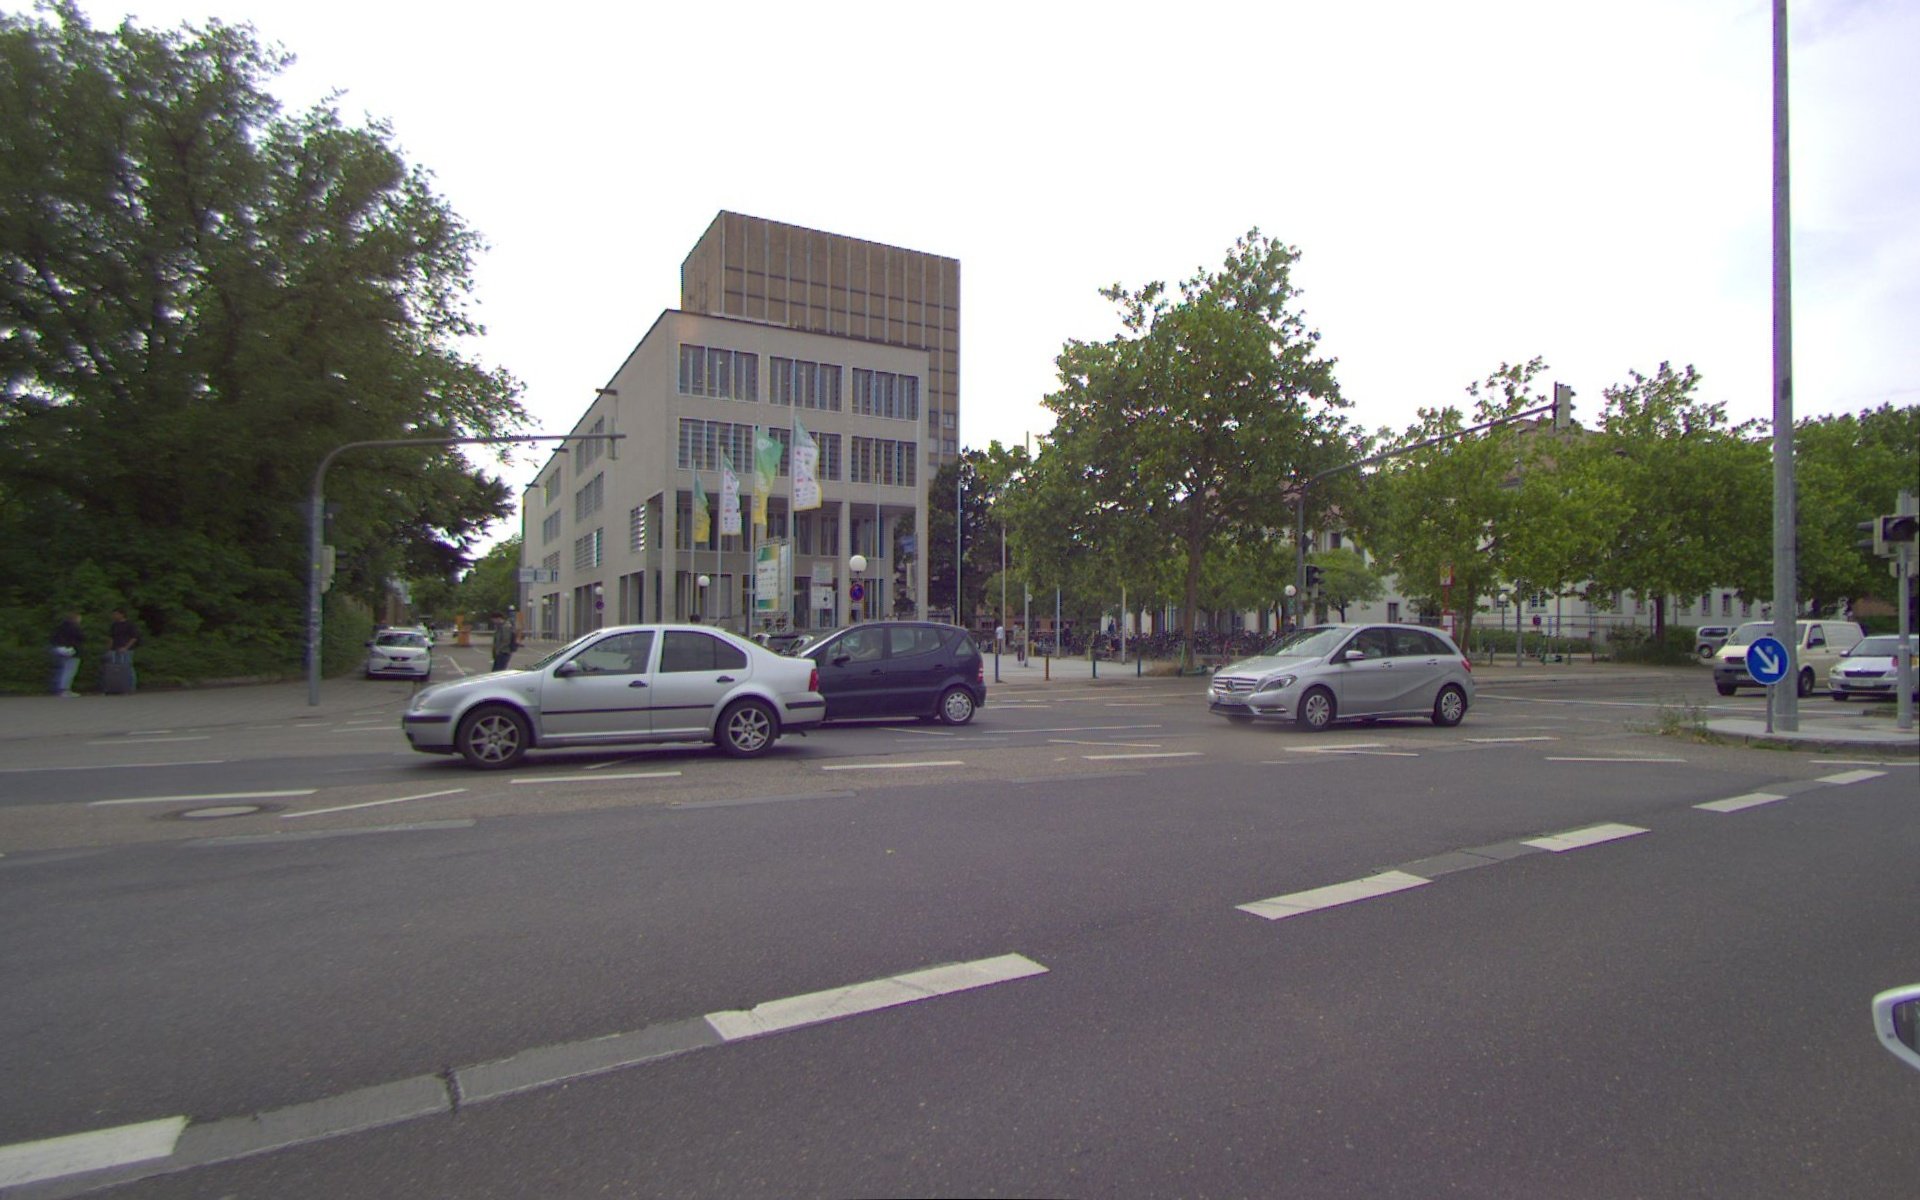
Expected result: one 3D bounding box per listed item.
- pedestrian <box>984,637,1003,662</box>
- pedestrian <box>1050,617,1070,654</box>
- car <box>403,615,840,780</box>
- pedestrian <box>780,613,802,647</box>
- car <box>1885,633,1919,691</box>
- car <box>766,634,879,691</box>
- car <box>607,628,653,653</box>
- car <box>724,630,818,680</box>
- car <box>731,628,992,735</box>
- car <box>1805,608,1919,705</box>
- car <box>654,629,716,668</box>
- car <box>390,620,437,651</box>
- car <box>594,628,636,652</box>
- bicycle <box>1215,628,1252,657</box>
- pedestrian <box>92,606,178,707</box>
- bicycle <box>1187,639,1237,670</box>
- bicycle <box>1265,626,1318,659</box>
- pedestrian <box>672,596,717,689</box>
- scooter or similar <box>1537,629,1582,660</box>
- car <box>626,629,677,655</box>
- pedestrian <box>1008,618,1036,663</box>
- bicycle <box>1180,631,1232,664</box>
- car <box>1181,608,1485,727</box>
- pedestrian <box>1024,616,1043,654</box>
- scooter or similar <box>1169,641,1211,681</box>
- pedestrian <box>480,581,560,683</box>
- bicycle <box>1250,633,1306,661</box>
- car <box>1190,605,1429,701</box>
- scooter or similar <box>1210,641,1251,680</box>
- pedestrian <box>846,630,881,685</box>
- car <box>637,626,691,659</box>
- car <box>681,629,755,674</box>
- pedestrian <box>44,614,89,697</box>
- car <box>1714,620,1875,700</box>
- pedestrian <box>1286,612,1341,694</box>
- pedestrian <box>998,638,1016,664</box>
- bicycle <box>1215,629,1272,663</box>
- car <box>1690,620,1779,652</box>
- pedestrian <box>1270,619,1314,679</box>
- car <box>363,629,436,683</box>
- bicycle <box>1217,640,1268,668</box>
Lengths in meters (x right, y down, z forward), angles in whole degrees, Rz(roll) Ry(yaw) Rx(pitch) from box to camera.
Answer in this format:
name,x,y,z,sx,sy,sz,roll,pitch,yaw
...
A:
name,x,y,z,sx,sy,sz,roll,pitch,yaw
pedestrian,1.938,2.889,58.201,0.783,1.437,0.893,1,-2,-21
pedestrian,5.544,1.963,55.787,0.783,2.040,0.893,1,-2,-21
car,-3.626,0.974,11.141,4.212,1.549,1.990,1,-2,-22
pedestrian,-10.161,1.803,60.433,0.785,2.040,1.032,-2,-3,45
car,29.854,1.852,30.308,3.951,1.712,1.691,1,-2,-29
car,-4.344,1.883,31.233,1.978,1.491,4.119,1,0,-31
car,-19.306,2.380,58.666,1.970,1.415,3.874,1,-2,-28
car,-6.720,1.886,35.384,1.978,1.491,3.966,1,0,-31
car,-1.527,1.188,15.560,3.647,1.483,1.847,1,-2,-25
car,21.547,1.271,23.053,3.951,2.040,1.985,1,-2,-29
car,-12.620,2.185,46.020,1.832,1.706,3.969,1,-2,-29
car,-28.407,1.845,52.346,1.974,1.561,3.974,1,-2,-26
car,-21.555,2.508,62.733,1.934,1.475,3.657,1,-2,-28
bicycle,15.165,2.352,55.797,0.906,1.579,2.662,0,-2,-11
pedestrian,-17.302,1.154,21.078,1.023,2.040,1.098,1,0,31
bicycle,11.756,2.533,47.018,0.713,1.371,2.471,1,-2,-32
bicycle,16.538,2.106,50.216,0.914,1.579,2.425,1,-2,-38
pedestrian,-6.108,0.949,23.081,0.843,2.086,0.662,-1,2,-32
scooter or similar,25.214,1.868,42.268,0.559,1.260,1.568,1,-2,-28
car,-16.894,2.295,54.958,1.982,1.379,3.972,1,-2,-28
pedestrian,2.849,1.879,46.282,0.785,2.040,1.090,-2,-3,45
bicycle,11.909,2.271,48.696,0.773,1.579,2.643,1,-2,-33
car,5.701,0.963,15.385,4.196,1.605,1.953,0,-2,-24
pedestrian,3.994,1.922,54.734,0.969,2.040,0.795,0,-2,0
scooter or similar,6.769,1.782,29.590,1.303,1.155,0.359,1,-2,-29
pedestrian,-9.177,0.645,20.932,1.167,2.040,1.136,1,0,42
bicycle,15.613,2.293,49.399,0.713,1.347,2.803,1,-2,-32
car,6.579,0.975,18.965,3.942,1.641,1.990,1,-2,-22
scooter or similar,8.181,1.810,30.344,1.303,1.155,0.359,1,-2,-29
pedestrian,-3.612,2.136,37.532,1.005,2.040,0.998,1,-2,-29
car,-14.848,2.110,50.307,1.865,1.573,3.972,1,-2,-28
car,-10.047,2.080,41.533,1.976,1.601,3.969,1,0,-29
pedestrian,-17.780,1.096,20.000,0.597,1.627,0.498,1,-3,-38
car,21.693,1.496,26.083,4.434,1.872,1.763,1,0,-29
pedestrian,9.051,1.341,25.706,0.998,2.040,0.890,1,-2,-30
pedestrian,2.674,2.900,57.334,0.783,1.437,0.893,1,-2,-21
bicycle,13.808,2.223,48.980,0.914,1.579,2.638,1,-2,-38
car,42.507,1.958,55.192,1.633,1.623,3.568,1,0,-30
pedestrian,10.264,1.519,31.076,0.925,1.827,0.890,1,-3,-32
car,-17.121,1.663,30.796,1.840,1.469,3.569,1,-1,-28
bicycle,13.428,2.566,47.842,0.713,1.286,2.521,1,-2,-32
